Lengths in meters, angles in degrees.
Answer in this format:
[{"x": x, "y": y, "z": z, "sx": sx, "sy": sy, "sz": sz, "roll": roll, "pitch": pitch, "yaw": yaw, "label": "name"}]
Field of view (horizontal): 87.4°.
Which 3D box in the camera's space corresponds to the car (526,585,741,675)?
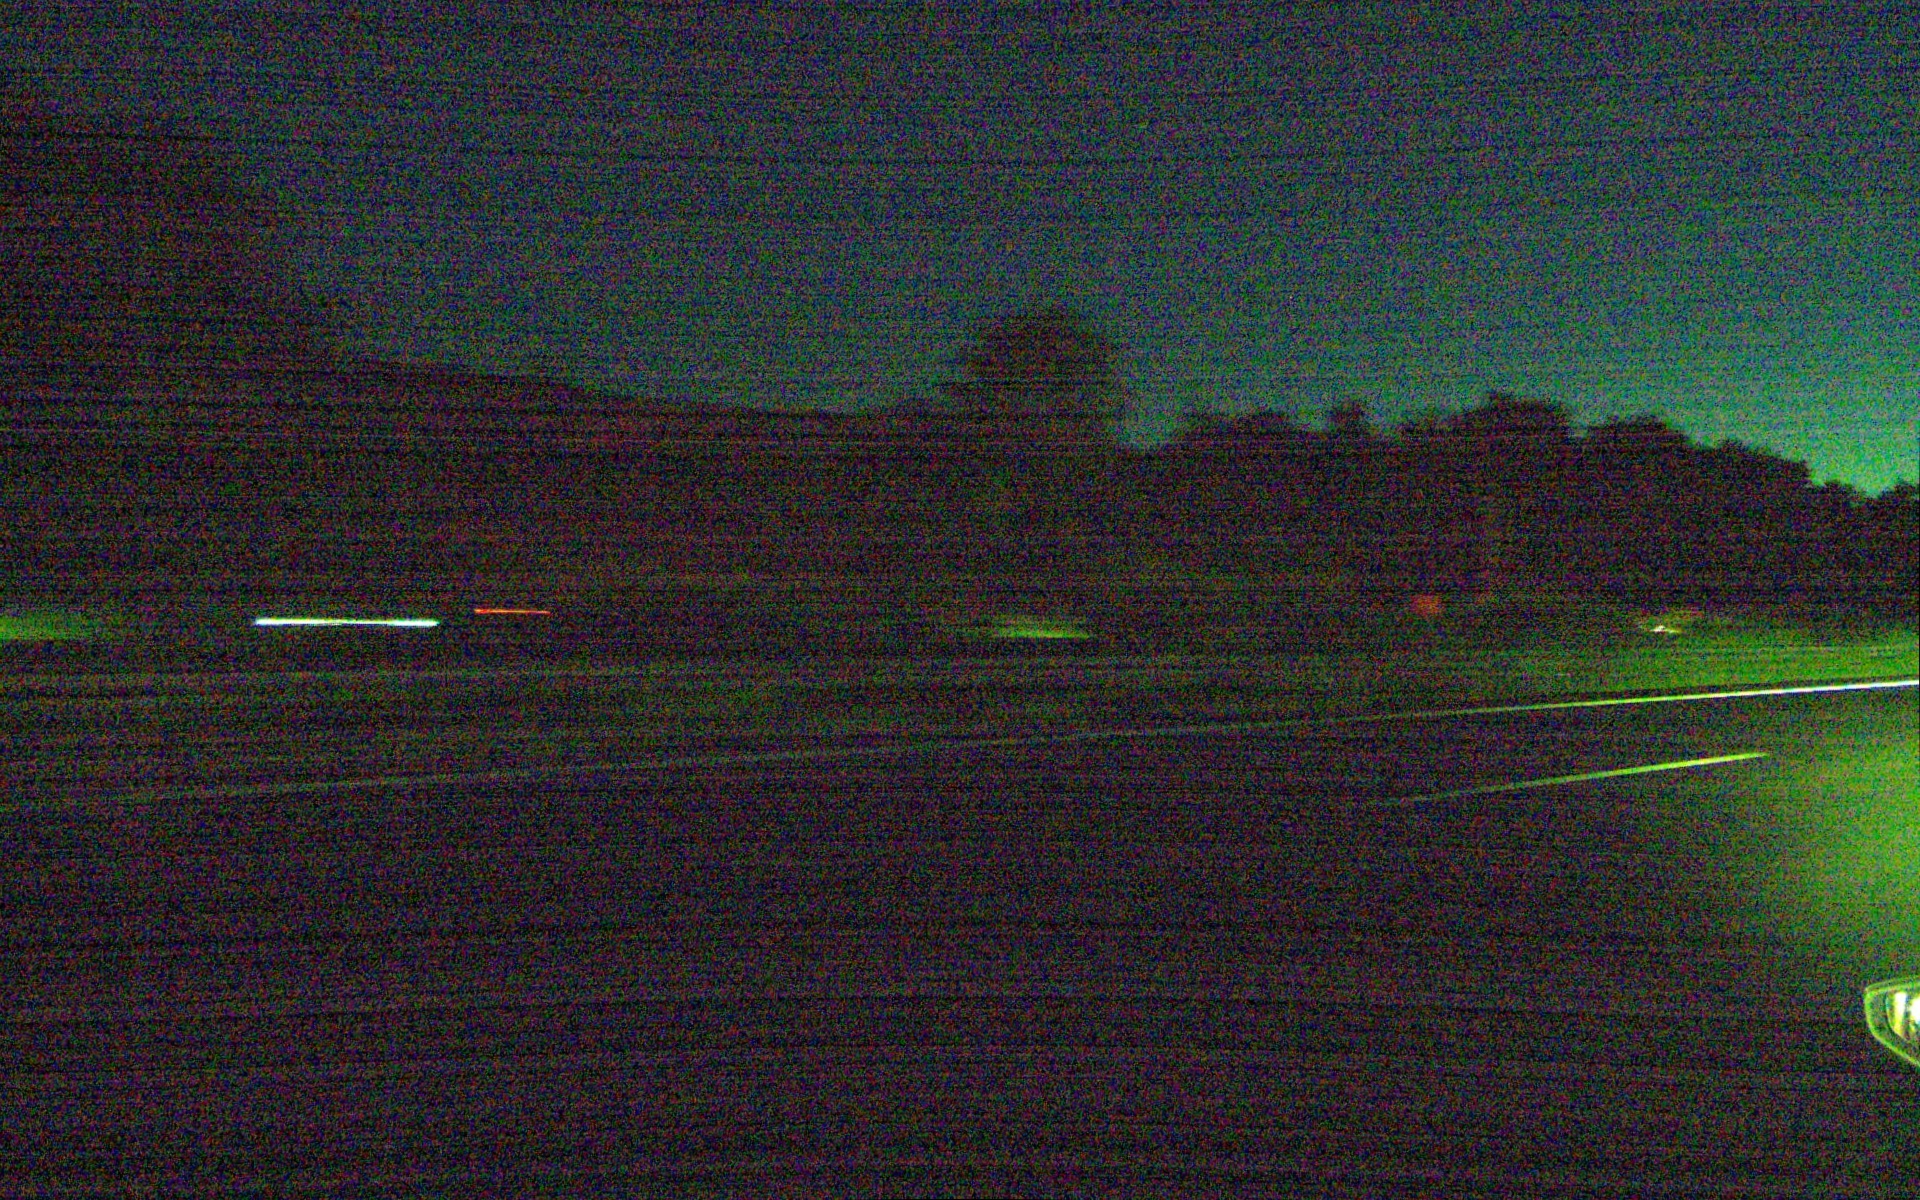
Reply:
[{"x": -7.489, "y": 0.669, "z": 23.129, "sx": 4.455, "sy": 1.901, "sz": 1.918, "roll": 1, "pitch": 0, "yaw": -28, "label": "car"}]
